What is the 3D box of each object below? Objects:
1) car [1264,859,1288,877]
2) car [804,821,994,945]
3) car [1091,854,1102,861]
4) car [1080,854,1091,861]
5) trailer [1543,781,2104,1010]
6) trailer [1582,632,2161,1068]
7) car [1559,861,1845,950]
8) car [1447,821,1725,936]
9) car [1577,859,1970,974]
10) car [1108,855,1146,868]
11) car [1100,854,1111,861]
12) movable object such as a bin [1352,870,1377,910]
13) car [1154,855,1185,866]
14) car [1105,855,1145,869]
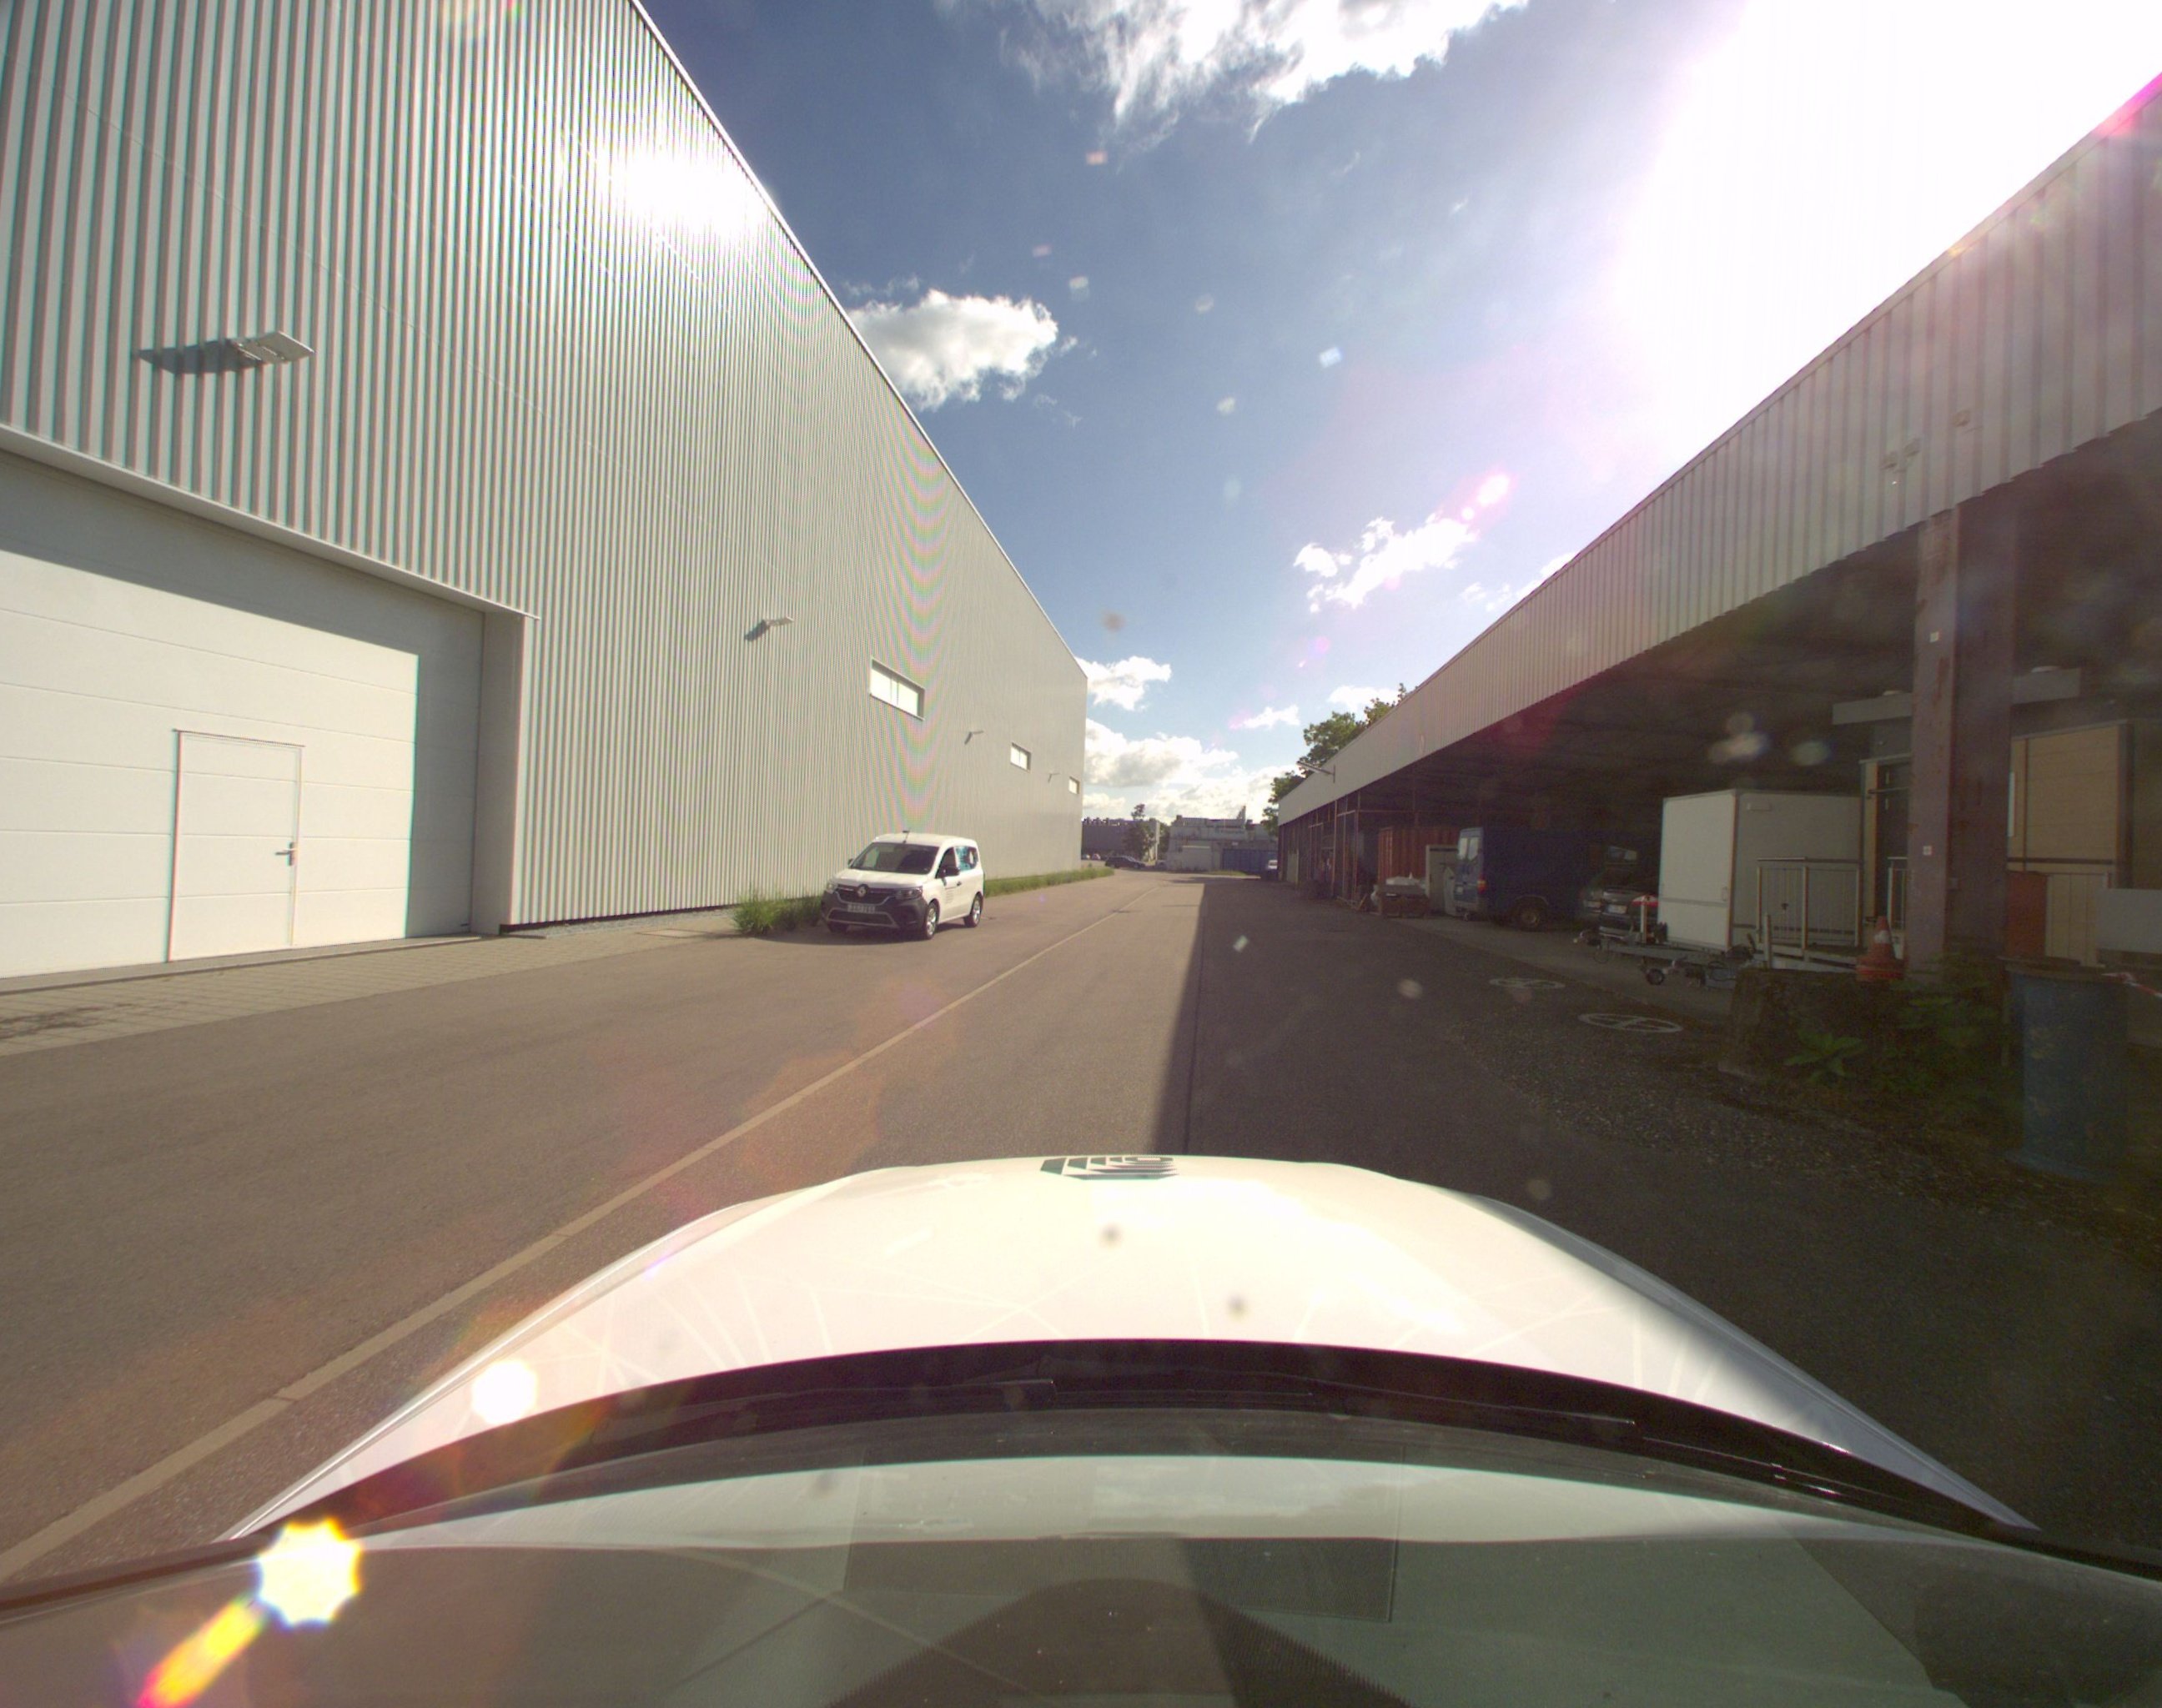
[{"bbox_3d":[19.647,1.415,82.193,1.982,1.585,4.183,2,1,8],"label":"car"},{"bbox_3d":[-3.143,0.459,15.146,1.880,1.845,4.368,4,0,8],"label":"car"},{"bbox_3d":[3.639,0.860,195.717,2.181,1.736,4.009,0,-1,8],"label":"car"},{"bbox_3d":[1.040,0.879,195.737,1.982,1.736,4.009,0,-1,8],"label":"car"},{"bbox_3d":[8.574,0.391,9.941,4.779,2.391,1.833,1,0,13],"label":"trailer"},{"bbox_3d":[10.413,0.013,7.110,9.980,3.216,2.860,1,0,8],"label":"trailer"},{"bbox_3d":[11.510,0.910,15.330,3.969,1.472,1.790,1,0,4],"label":"car"},{"bbox_3d":[11.182,0.506,18.415,4.950,2.325,2.005,1,0,9],"label":"car"},{"bbox_3d":[10.230,0.866,12.341,4.307,1.496,1.780,1,0,6],"label":"car"},{"bbox_3d":[5.676,0.967,100.369,4.498,1.508,1.914,1,0,10],"label":"car"},{"bbox_3d":[5.895,0.816,193.666,2.181,1.736,4.009,0,-1,8],"label":"car"},{"bbox_3d":[8.523,1.073,24.535,0.577,1.164,1.242,1,0,13],"label":"movable object such as a bin"},{"bbox_3d":[13.522,0.969,123.921,4.499,1.508,1.914,2,0,9],"label":"car"},{"bbox_3d":[5.214,0.926,97.157,4.498,1.508,1.914,1,0,10],"label":"car"}]
